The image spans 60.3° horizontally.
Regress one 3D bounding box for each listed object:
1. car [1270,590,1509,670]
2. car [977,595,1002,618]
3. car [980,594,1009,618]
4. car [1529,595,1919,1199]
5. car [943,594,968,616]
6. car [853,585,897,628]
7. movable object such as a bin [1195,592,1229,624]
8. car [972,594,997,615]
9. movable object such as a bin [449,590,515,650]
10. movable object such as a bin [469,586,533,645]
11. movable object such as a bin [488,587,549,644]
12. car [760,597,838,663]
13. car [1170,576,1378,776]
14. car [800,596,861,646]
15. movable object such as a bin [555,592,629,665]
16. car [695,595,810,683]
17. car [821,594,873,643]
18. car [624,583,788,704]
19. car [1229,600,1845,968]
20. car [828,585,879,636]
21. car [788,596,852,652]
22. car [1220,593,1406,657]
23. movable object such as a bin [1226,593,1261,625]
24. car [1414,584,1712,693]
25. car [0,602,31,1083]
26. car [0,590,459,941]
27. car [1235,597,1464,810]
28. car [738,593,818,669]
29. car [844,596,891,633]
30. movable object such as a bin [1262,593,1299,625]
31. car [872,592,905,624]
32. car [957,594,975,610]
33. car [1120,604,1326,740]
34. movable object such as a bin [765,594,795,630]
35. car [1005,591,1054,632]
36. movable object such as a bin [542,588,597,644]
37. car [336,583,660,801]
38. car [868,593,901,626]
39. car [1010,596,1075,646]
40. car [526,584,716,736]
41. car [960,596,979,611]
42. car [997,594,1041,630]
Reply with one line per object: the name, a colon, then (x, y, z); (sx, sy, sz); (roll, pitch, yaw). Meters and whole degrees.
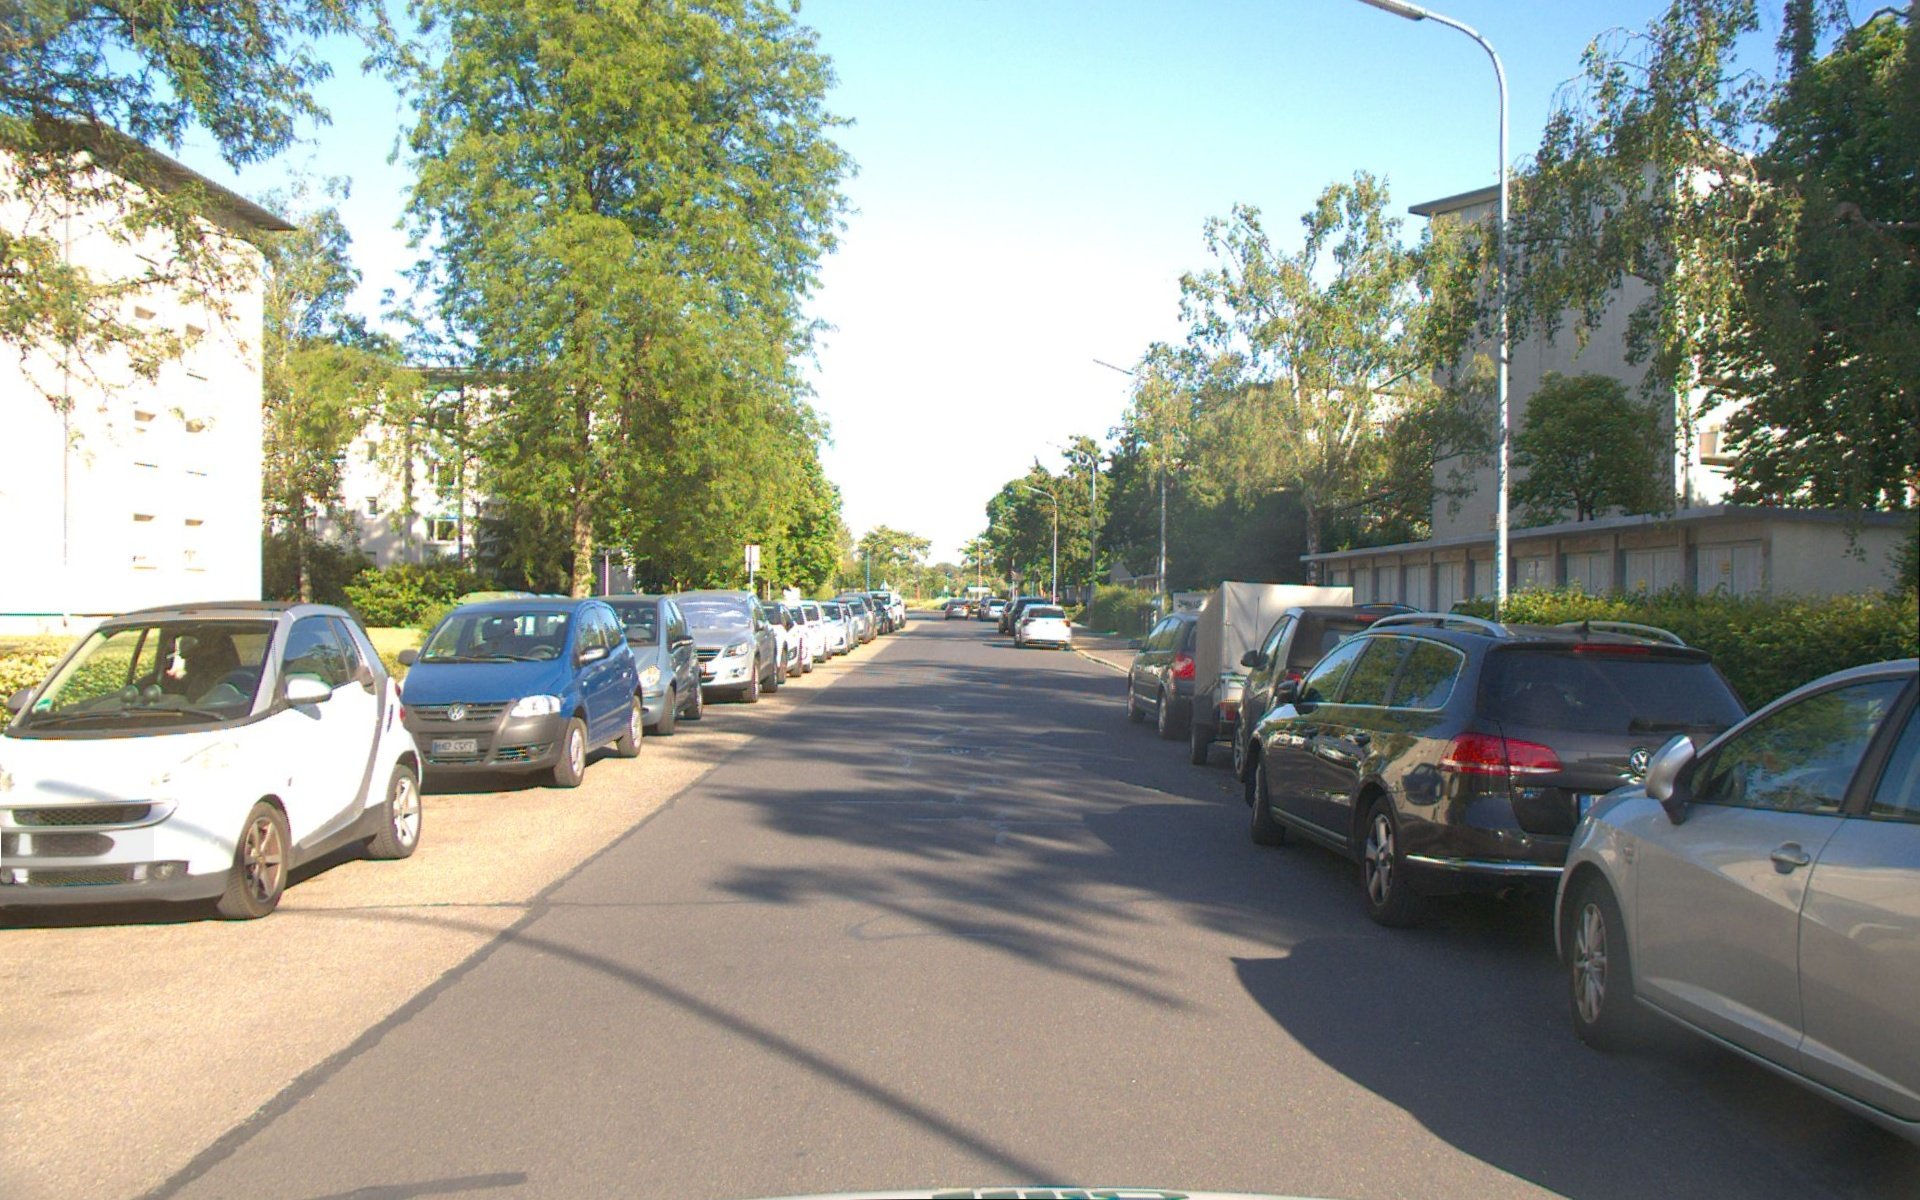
car: (8.712, 0.587, 33.806); (4.420, 1.540, 1.829); (-1, 0, 1)
car: (2.345, 0.526, 133.125); (1.760, 1.818, 3.949); (1, 0, -3)
car: (2.420, 0.409, 117.093); (1.760, 1.589, 3.949); (1, 0, -3)
car: (3.076, 0.771, 4.461); (1.590, 1.516, 4.035); (2, 0, -1)
car: (-0.364, 0.349, 121.813); (1.646, 1.540, 4.102); (2, 0, -3)
car: (-4.078, 0.294, 80.248); (1.875, 1.997, 5.087); (-1, 0, 0)
movable object such as a bin: (10.939, 0.344, 71.843); (1.229, 1.376, 1.278); (1, 0, -1)
car: (2.026, 0.364, 138.198); (1.760, 1.672, 3.949); (1, 0, -3)
movable object such as a bin: (-12.042, 0.493, 41.738); (1.153, 1.445, 1.462); (3, 0, 1)
movable object such as a bin: (-12.006, 0.398, 43.306); (1.153, 1.445, 1.462); (3, 0, 1)
movable object such as a bin: (-11.952, 0.405, 44.827); (1.153, 1.445, 1.462); (3, 0, 1)
car: (-4.077, 0.729, 42.297); (1.652, 1.562, 3.890); (-1, 0, -1)
car: (2.977, 0.679, 16.120); (1.458, 1.748, 2.582); (2, 0, -1)
car: (-4.160, 0.651, 53.542); (1.652, 1.490, 4.525); (-2, 0, -1)
movable object such as a bin: (-7.525, 0.566, 33.882); (1.113, 1.407, 1.442); (3, 0, 1)
car: (-3.859, 0.691, 31.284); (1.628, 1.540, 3.946); (-1, 0, 1)
car: (-3.989, 0.643, 58.968); (1.675, 1.628, 3.984); (-2, 0, -2)
car: (-3.790, 0.602, 25.429); (1.864, 1.668, 4.348); (-1, 0, -1)
car: (2.826, 0.776, 9.276); (1.697, 1.516, 4.499); (-1, 0, -3)
car: (-4.128, 0.398, 64.789); (1.817, 1.925, 4.416); (-1, 0, -2)
car: (-4.014, 0.670, 47.994); (1.652, 1.532, 3.816); (0, 0, -2)
car: (8.907, 0.612, 42.015); (4.324, 1.540, 1.829); (-1, 0, 0)
movable object such as a bin: (12.302, 0.379, 71.811); (1.229, 1.376, 1.278); (1, 0, -1)
car: (9.114, 0.560, 25.190); (3.864, 1.540, 1.827); (-1, 0, -4)
car: (-3.832, 0.793, 3.059); (1.719, 1.506, 4.536); (-2, 0, -2)
car: (-4.050, 0.771, 9.285); (1.414, 1.601, 3.143); (-2, 0, 1)
car: (3.141, 0.774, 13.717); (1.385, 1.550, 2.559); (2, 0, 3)
car: (-3.932, 0.636, 35.716); (1.631, 1.540, 3.533); (-1, 0, -7)
car: (-4.102, 0.620, 73.962); (1.710, 1.560, 4.140); (-1, 0, 2)
movable object such as a bin: (13.972, 0.375, 72.063); (1.231, 1.376, 1.276); (1, 0, -9)
car: (-4.017, 0.431, 93.960); (1.711, 1.762, 4.005); (-1, 0, 0)
car: (0.607, 0.258, 179.849); (1.760, 1.672, 3.949); (1, 0, -3)
car: (3.094, 0.801, 20.235); (1.697, 1.428, 3.893); (2, 0, -3)
movable object such as a bin: (-7.635, 0.500, 70.297); (1.079, 1.445, 1.361); (3, 0, 0)
car: (2.970, 0.460, 71.155); (1.869, 1.668, 4.628); (1, 0, 0)
movable object such as a bin: (-10.692, 0.434, 45.328); (1.111, 1.445, 1.361); (3, 0, 1)
car: (-3.946, 0.706, 14.812); (1.718, 1.634, 3.968); (-2, 0, 0)
car: (-4.065, 0.475, 88.417); (1.712, 1.699, 4.375); (-1, 0, -3)
car: (2.708, 0.660, 54.872); (1.718, 1.540, 4.102); (2, 0, -3)
car: (-3.964, 0.654, 19.839); (1.602, 1.634, 3.534); (-1, 0, -1)
car: (0.984, 0.353, 172.532); (1.760, 1.576, 3.949); (1, 0, -3)
car: (2.715, 0.538, 77.002); (1.869, 1.557, 4.327); (1, 0, 0)
